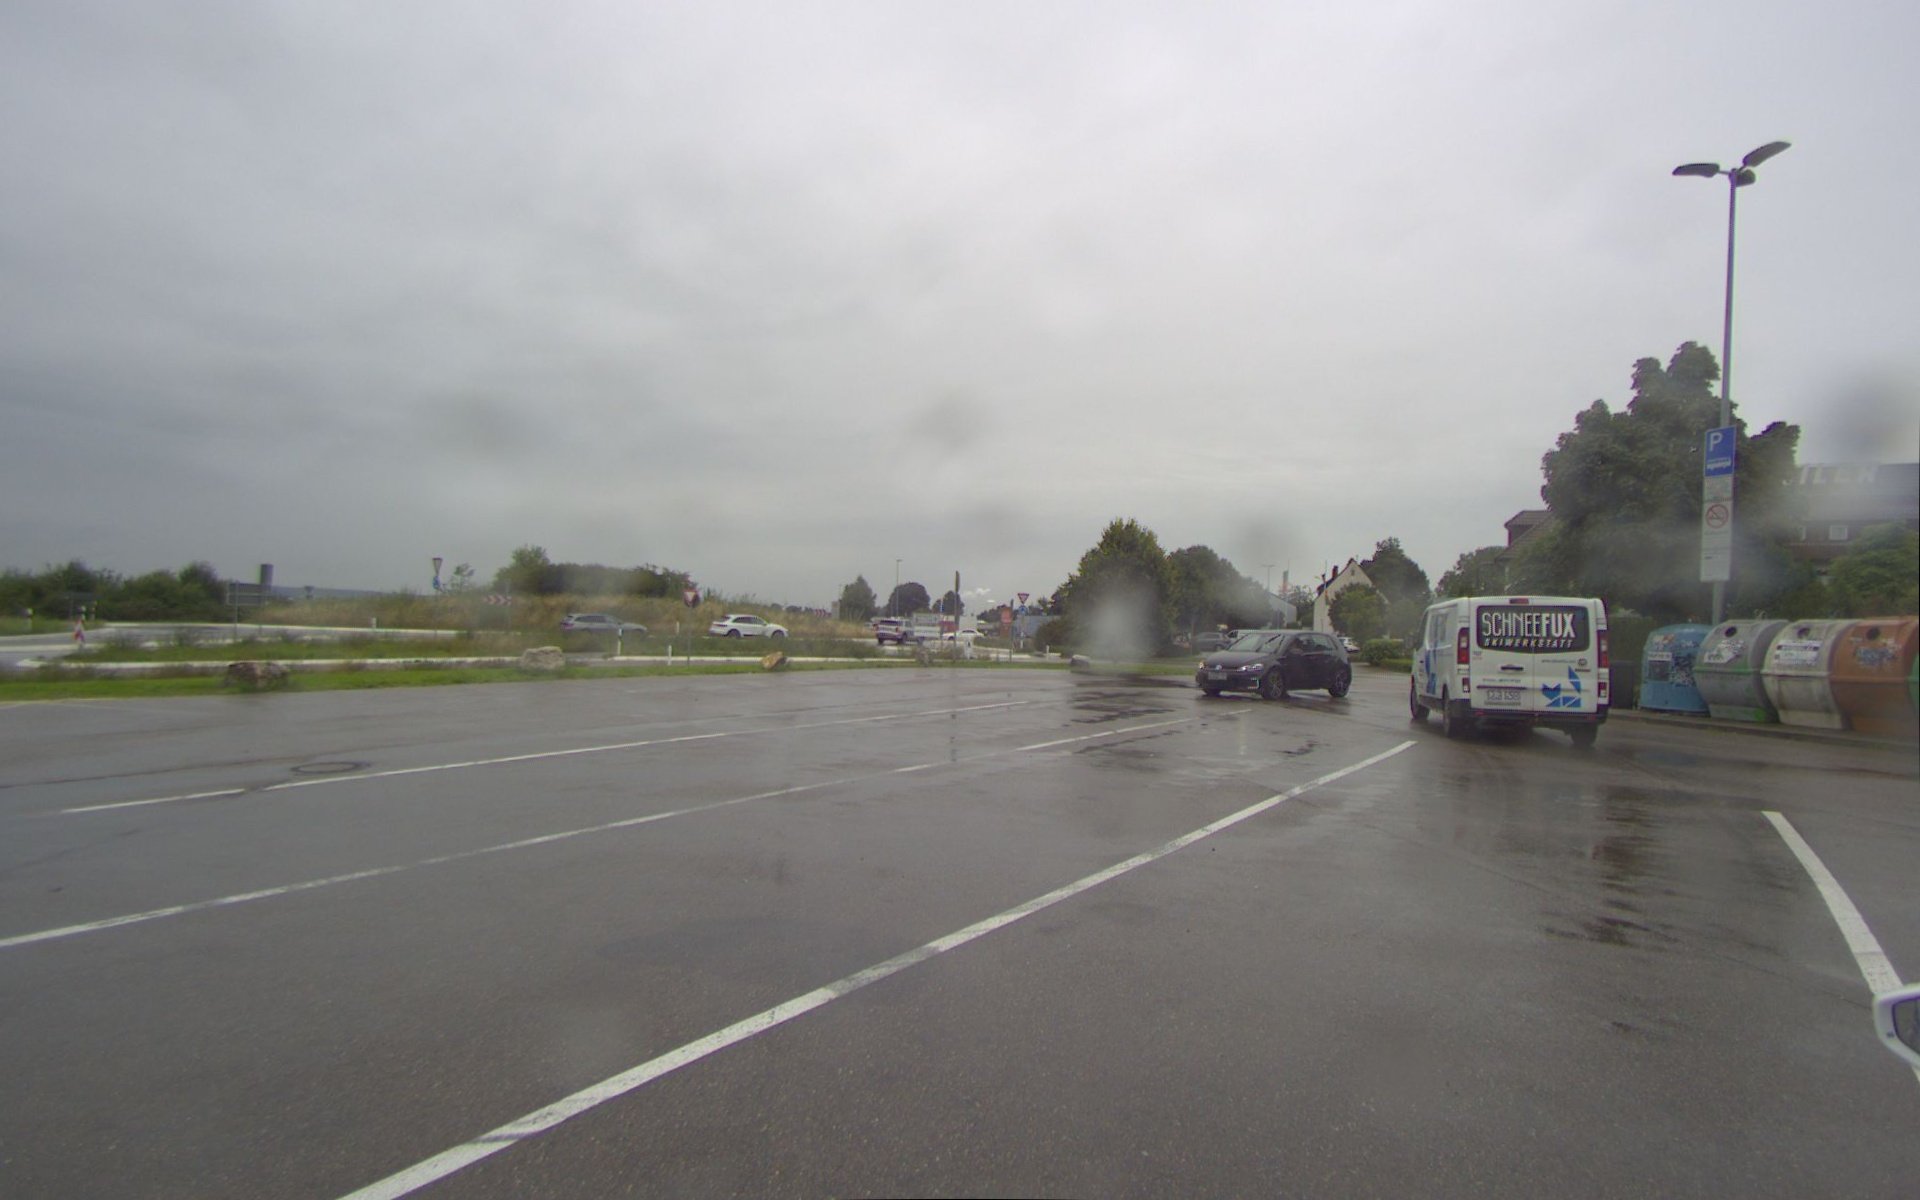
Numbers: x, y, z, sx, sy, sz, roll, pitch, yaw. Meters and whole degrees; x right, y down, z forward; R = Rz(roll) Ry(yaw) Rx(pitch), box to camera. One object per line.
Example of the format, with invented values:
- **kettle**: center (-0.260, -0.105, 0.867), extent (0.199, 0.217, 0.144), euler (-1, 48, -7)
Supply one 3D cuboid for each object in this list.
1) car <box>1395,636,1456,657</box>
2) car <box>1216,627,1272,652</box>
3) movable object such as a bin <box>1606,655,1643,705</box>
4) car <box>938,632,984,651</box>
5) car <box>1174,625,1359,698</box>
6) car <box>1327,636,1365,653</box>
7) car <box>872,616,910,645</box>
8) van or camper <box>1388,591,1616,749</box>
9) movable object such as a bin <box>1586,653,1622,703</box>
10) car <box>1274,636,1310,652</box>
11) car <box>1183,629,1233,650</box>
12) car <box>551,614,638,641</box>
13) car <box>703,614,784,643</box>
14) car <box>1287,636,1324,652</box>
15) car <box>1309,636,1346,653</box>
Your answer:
- **car**: center (35.831, 3.566, 77.271), extent (4.115, 1.517, 1.714), euler (0, -2, 31)
- **car**: center (25.137, 3.489, 89.022), extent (4.456, 2.060, 1.641), euler (0, -1, 31)
- **movable object such as a bin**: center (12.709, 1.527, 19.224), extent (0.441, 0.929, 0.489), euler (1, -1, 12)
- **car**: center (0.118, 4.163, 99.629), extent (4.312, 1.781, 1.736), euler (3, -2, -28)
- **car**: center (6.806, 1.327, 22.186), extent (4.036, 1.452, 1.763), euler (2, -1, -34)
- **car**: center (37.536, 4.328, 97.751), extent (1.559, 1.477, 3.669), euler (1, -1, -15)
- **car**: center (-4.851, 2.159, 71.028), extent (1.960, 1.897, 4.647), euler (1, -1, 4)
- **van or camper**: center (8.002, 0.968, 15.414), extent (2.151, 1.971, 5.199), euler (1, -2, 18)
- **movable object such as a bin**: center (12.670, 1.526, 19.779), extent (0.441, 0.951, 0.489), euler (1, -1, 12)
- **car**: center (31.318, 4.139, 94.861), extent (1.530, 1.477, 3.669), euler (1, -1, -15)
- **car**: center (19.895, 3.176, 80.633), extent (3.678, 1.571, 1.448), euler (0, -1, 31)
- **car**: center (-19.367, 1.483, 53.247), extent (4.011, 1.343, 1.674), euler (2, -2, -40)
- **car**: center (-12.649, 1.671, 58.812), extent (4.335, 1.605, 1.680), euler (2, -1, -30)
- **car**: center (33.065, 4.207, 96.297), extent (1.559, 1.477, 3.669), euler (1, -1, -15)
- **car**: center (35.229, 4.244, 96.294), extent (1.559, 1.477, 3.669), euler (1, -1, -15)
